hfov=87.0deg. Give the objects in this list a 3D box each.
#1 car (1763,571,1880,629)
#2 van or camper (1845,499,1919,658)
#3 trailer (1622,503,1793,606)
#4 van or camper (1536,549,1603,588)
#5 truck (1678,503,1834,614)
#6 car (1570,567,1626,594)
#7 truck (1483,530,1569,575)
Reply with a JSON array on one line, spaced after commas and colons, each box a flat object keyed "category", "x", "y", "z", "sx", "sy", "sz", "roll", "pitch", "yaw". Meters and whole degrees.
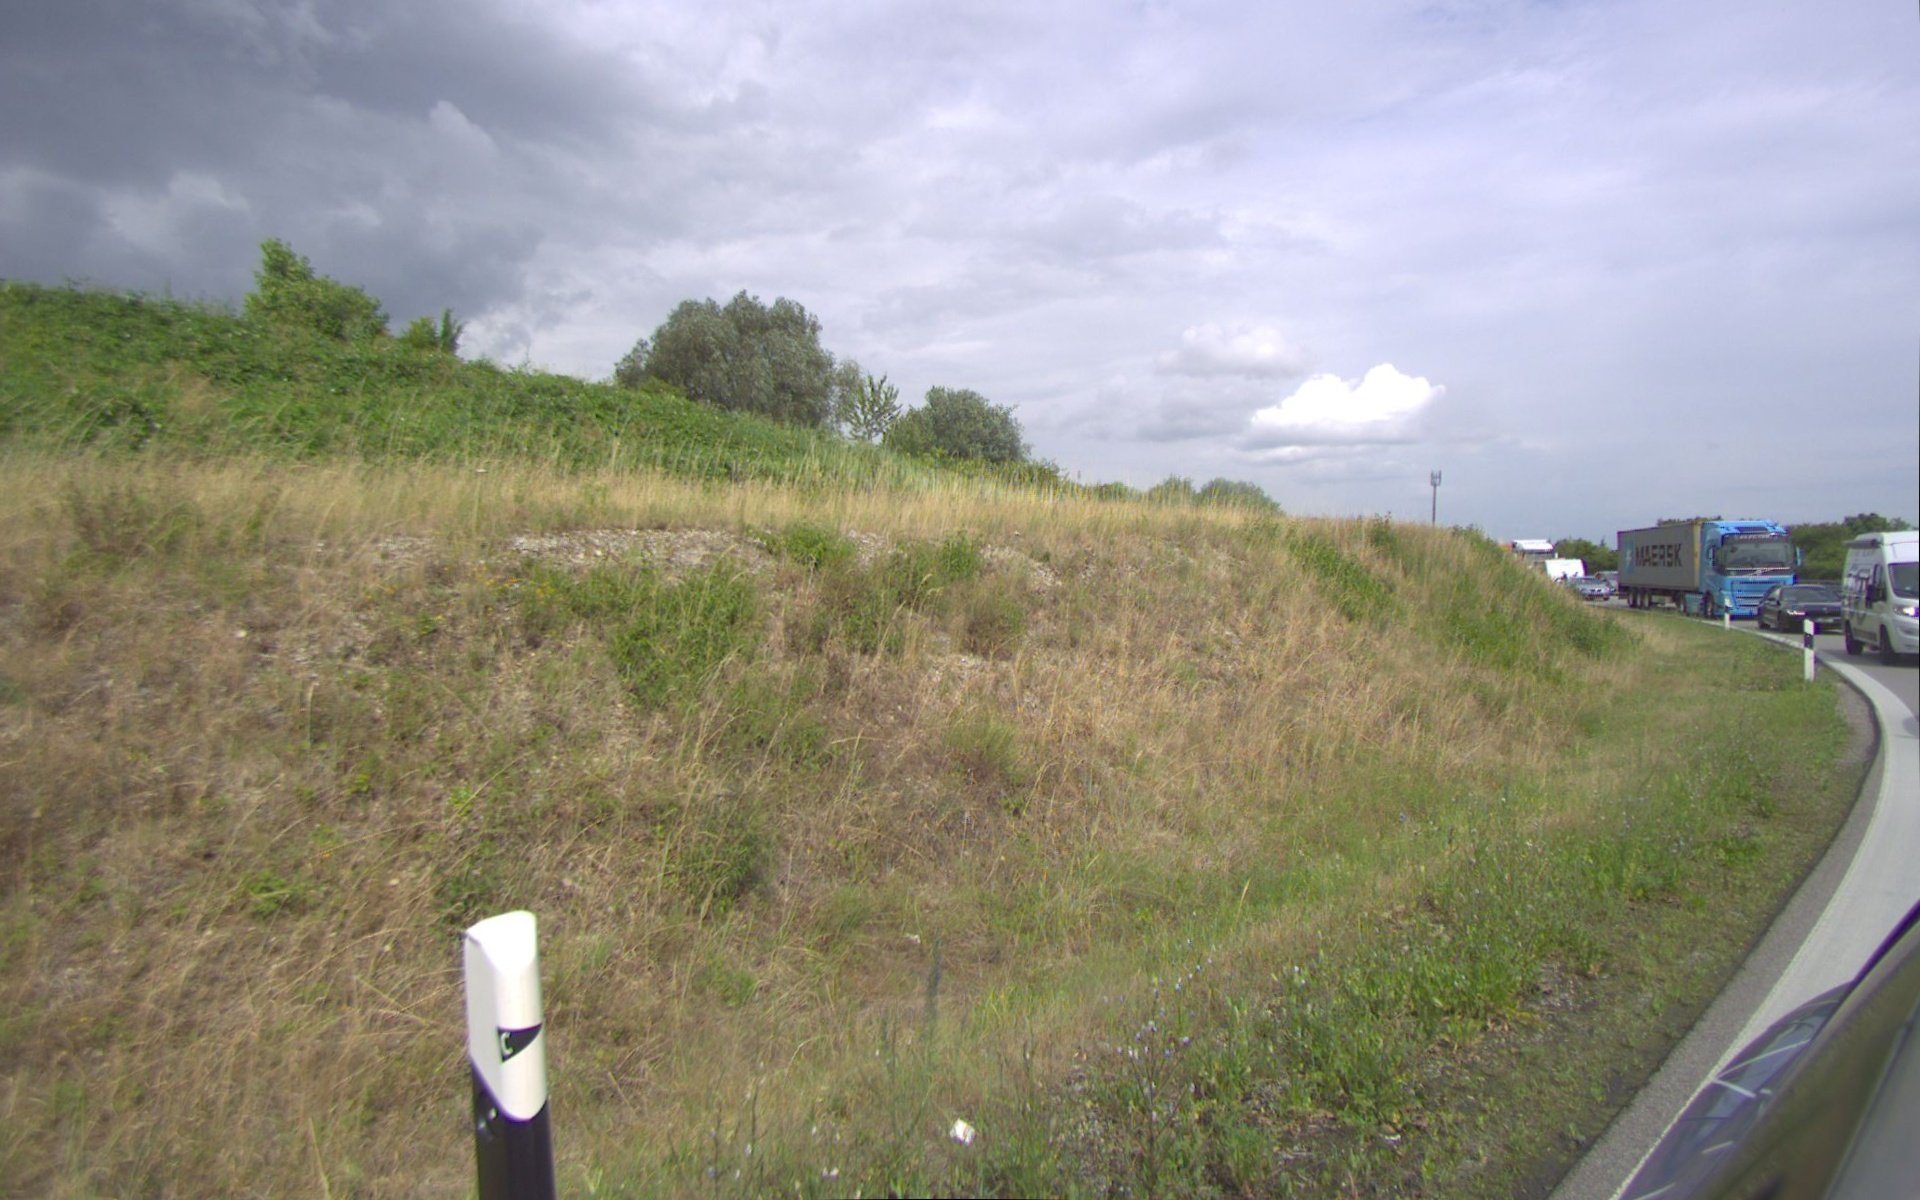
[{"category": "car", "x": 26.673, "y": -0.063, "z": 31.478, "sx": 1.983, "sy": 1.638, "sz": 3.960, "roll": 1, "pitch": 2, "yaw": 29}, {"category": "van or camper", "x": 20.153, "y": -0.432, "z": 20.648, "sx": 2.382, "sy": 2.945, "sz": 5.652, "roll": 0, "pitch": 0, "yaw": 33}, {"category": "trailer", "x": 34.683, "y": -1.922, "z": 47.677, "sx": 3.235, "sy": 4.214, "sz": 11.936, "roll": 0, "pitch": 0, "yaw": 20}, {"category": "van or camper", "x": 40.430, "y": -2.138, "z": 67.276, "sx": 2.519, "sy": 2.237, "sz": 5.684, "roll": -1, "pitch": 4, "yaw": 17}, {"category": "truck", "x": 32.198, "y": -1.594, "z": 41.290, "sx": 3.142, "sy": 4.124, "sz": 6.600, "roll": 0, "pitch": 0, "yaw": 21}, {"category": "car", "x": 38.657, "y": -1.186, "z": 61.387, "sx": 1.974, "sy": 1.548, "sz": 3.977, "roll": 0, "pitch": 2, "yaw": 19}, {"category": "truck", "x": 44.100, "y": -3.602, "z": 79.295, "sx": 3.080, "sy": 3.279, "sz": 11.113, "roll": 0, "pitch": 2, "yaw": 14}]
